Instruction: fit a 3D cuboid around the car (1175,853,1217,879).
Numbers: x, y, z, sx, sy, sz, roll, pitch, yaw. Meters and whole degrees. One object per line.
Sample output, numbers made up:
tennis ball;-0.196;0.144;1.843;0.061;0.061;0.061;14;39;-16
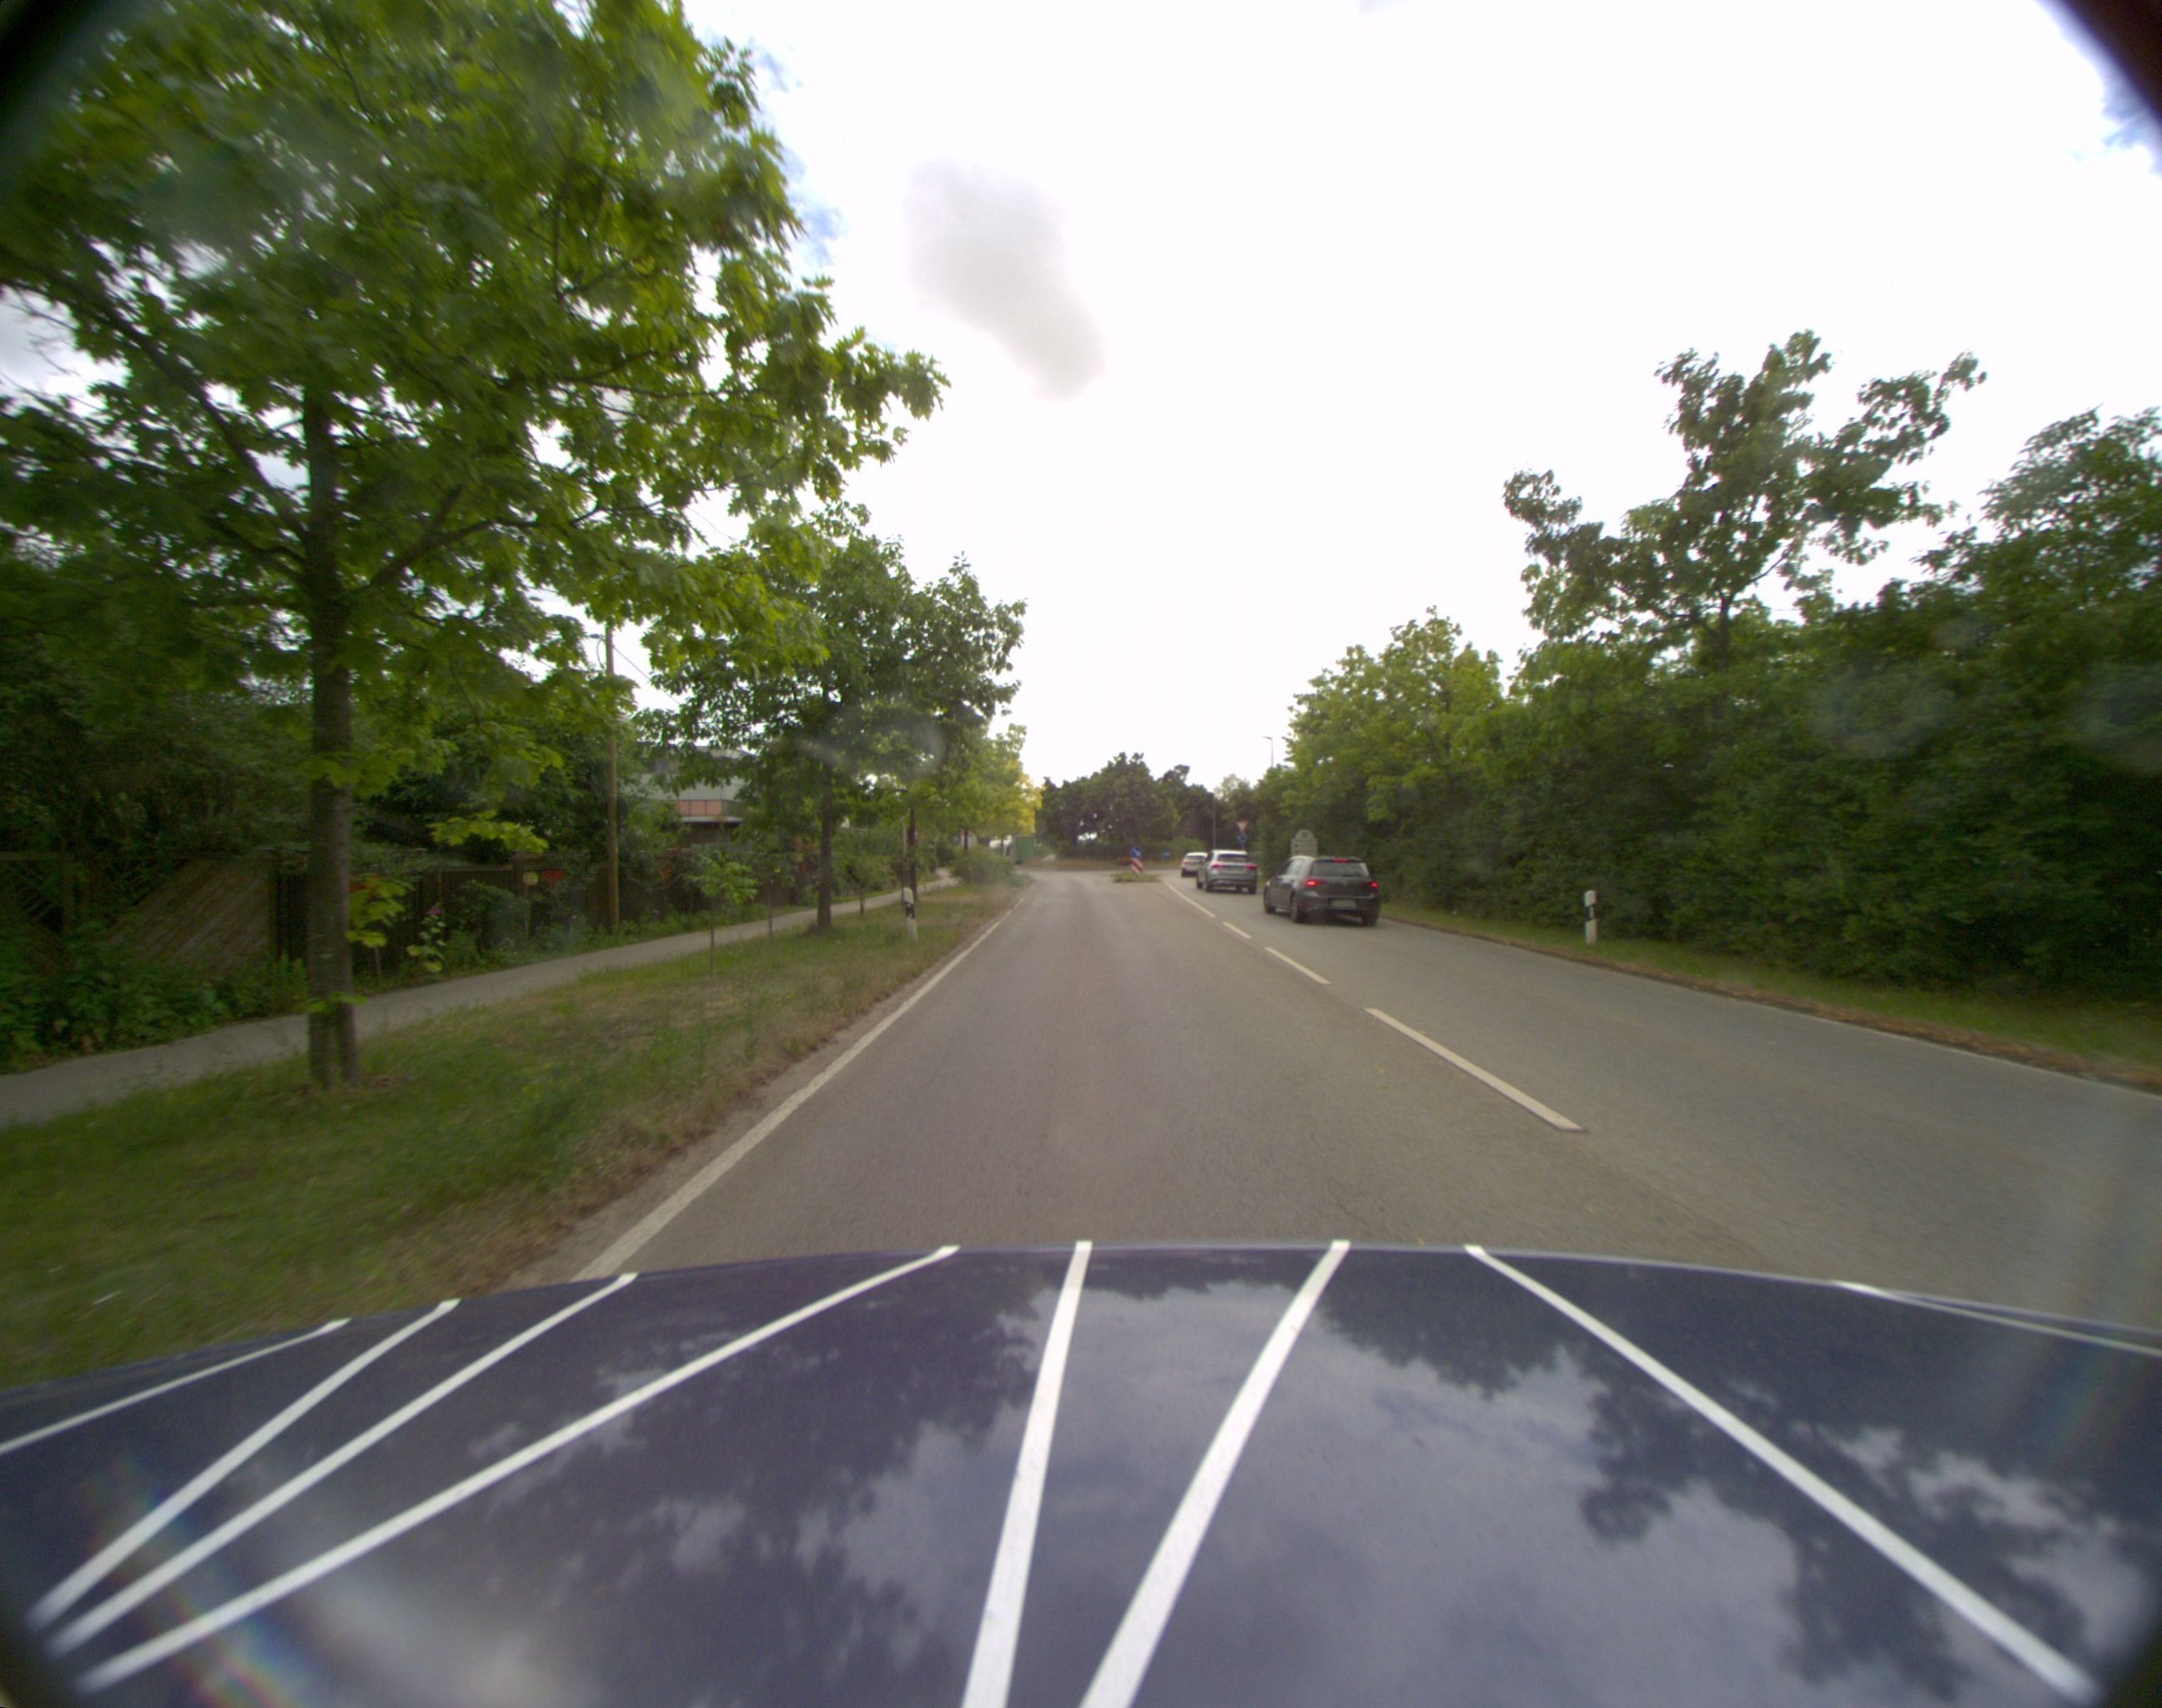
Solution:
car;7.181;0.731;47.891;2.218;1.445;4.944;1;0;4

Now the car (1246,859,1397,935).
car;5.314;0.891;17.524;1.999;1.411;4.477;1;1;-1

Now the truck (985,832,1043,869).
truck;-6.506;-0.407;75.073;2.610;3.428;7.517;-2;0;20

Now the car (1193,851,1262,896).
car;5.723;0.709;30.204;1.998;1.592;4.665;1;1;2
